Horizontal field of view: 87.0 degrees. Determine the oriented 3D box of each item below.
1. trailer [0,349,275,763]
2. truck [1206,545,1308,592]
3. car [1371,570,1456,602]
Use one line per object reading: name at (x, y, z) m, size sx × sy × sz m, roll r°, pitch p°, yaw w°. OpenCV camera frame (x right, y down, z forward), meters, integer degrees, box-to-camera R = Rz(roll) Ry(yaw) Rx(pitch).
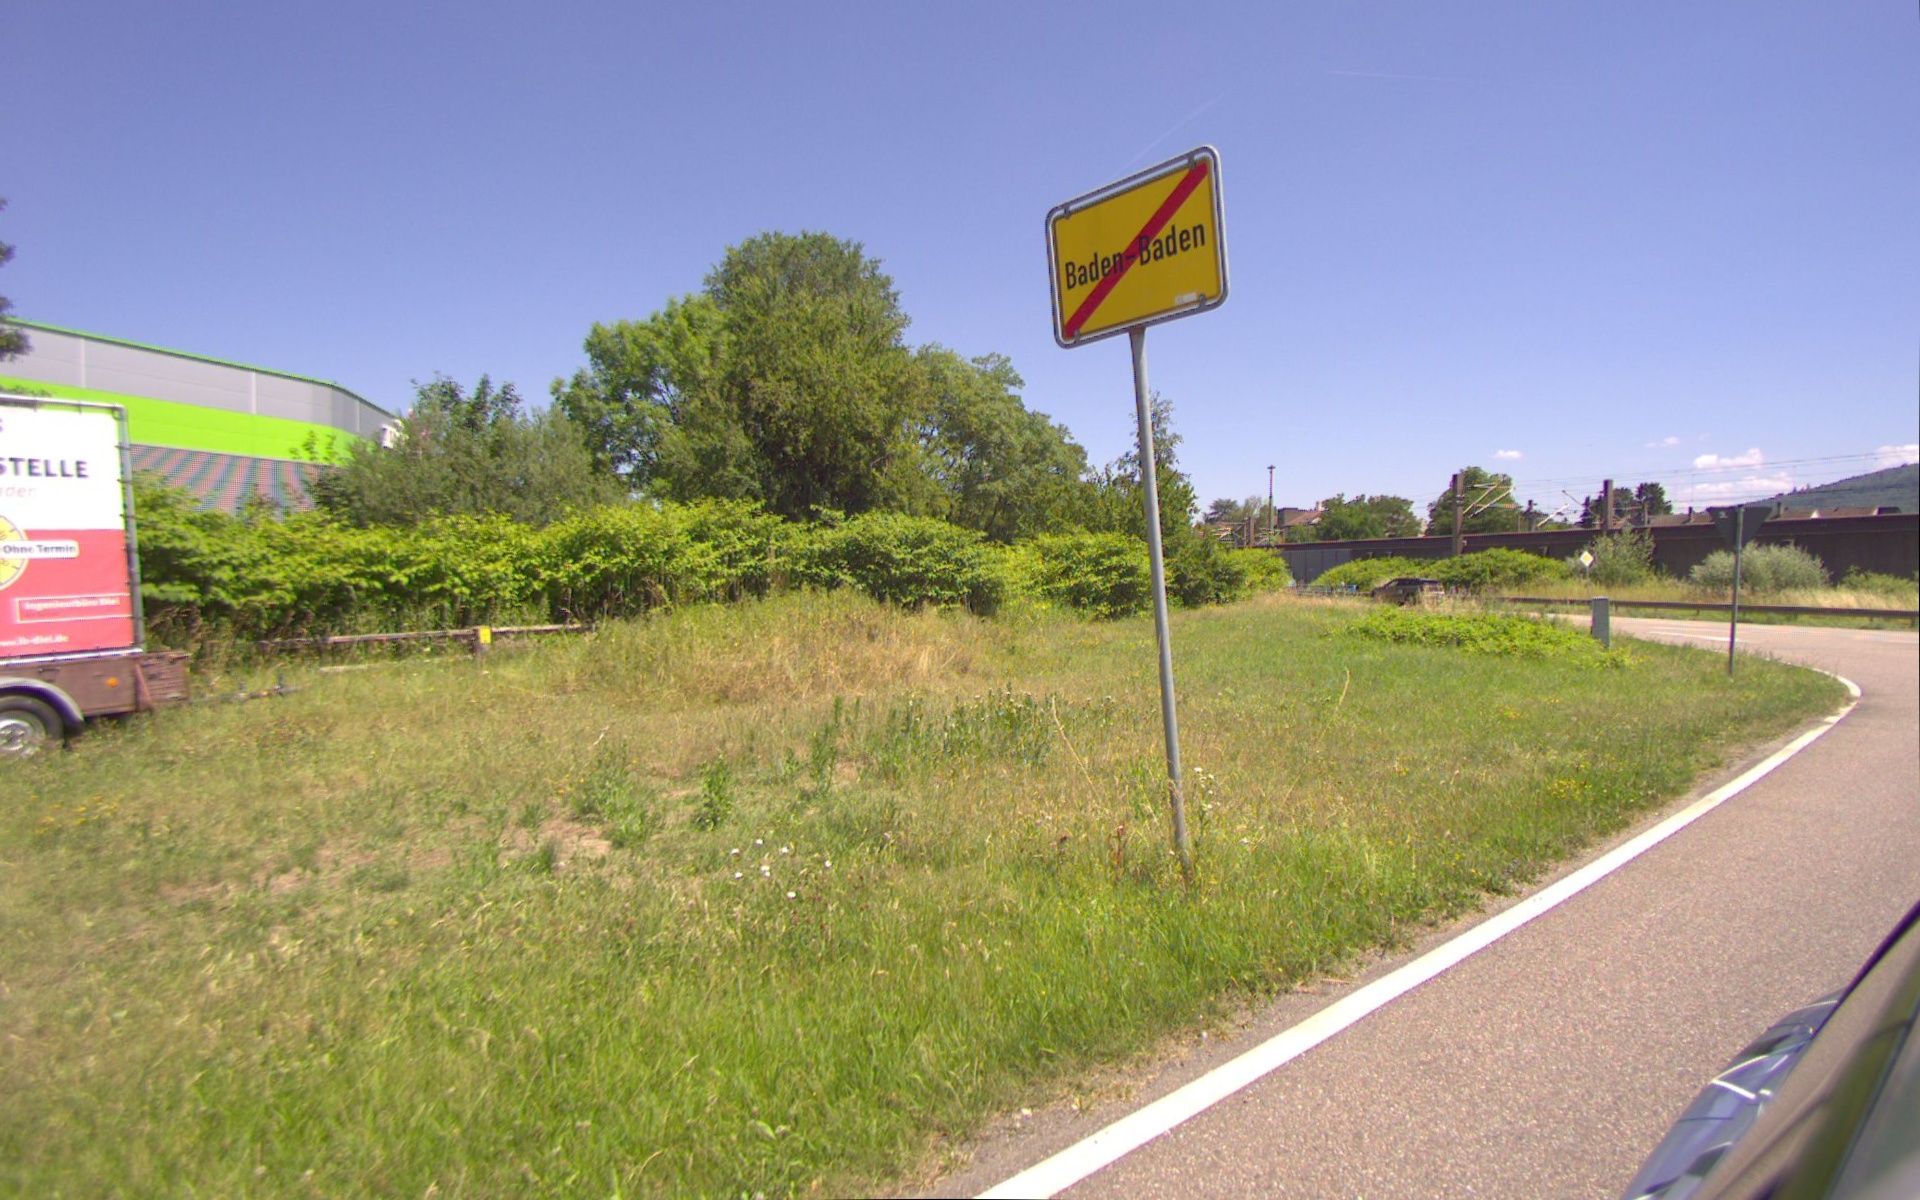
trailer at (-7.024, -0.295, 7.153) m, size 1.835 × 2.703 × 3.116 m, roll 0°, pitch 1°, yaw 29°
truck at (21.252, -2.294, 73.162) m, size 2.861 × 3.189 × 8.645 m, roll 1°, pitch 2°, yaw -15°
car at (25.417, -0.828, 56.878) m, size 1.669 × 1.647 × 4.634 m, roll 1°, pitch 2°, yaw -18°
